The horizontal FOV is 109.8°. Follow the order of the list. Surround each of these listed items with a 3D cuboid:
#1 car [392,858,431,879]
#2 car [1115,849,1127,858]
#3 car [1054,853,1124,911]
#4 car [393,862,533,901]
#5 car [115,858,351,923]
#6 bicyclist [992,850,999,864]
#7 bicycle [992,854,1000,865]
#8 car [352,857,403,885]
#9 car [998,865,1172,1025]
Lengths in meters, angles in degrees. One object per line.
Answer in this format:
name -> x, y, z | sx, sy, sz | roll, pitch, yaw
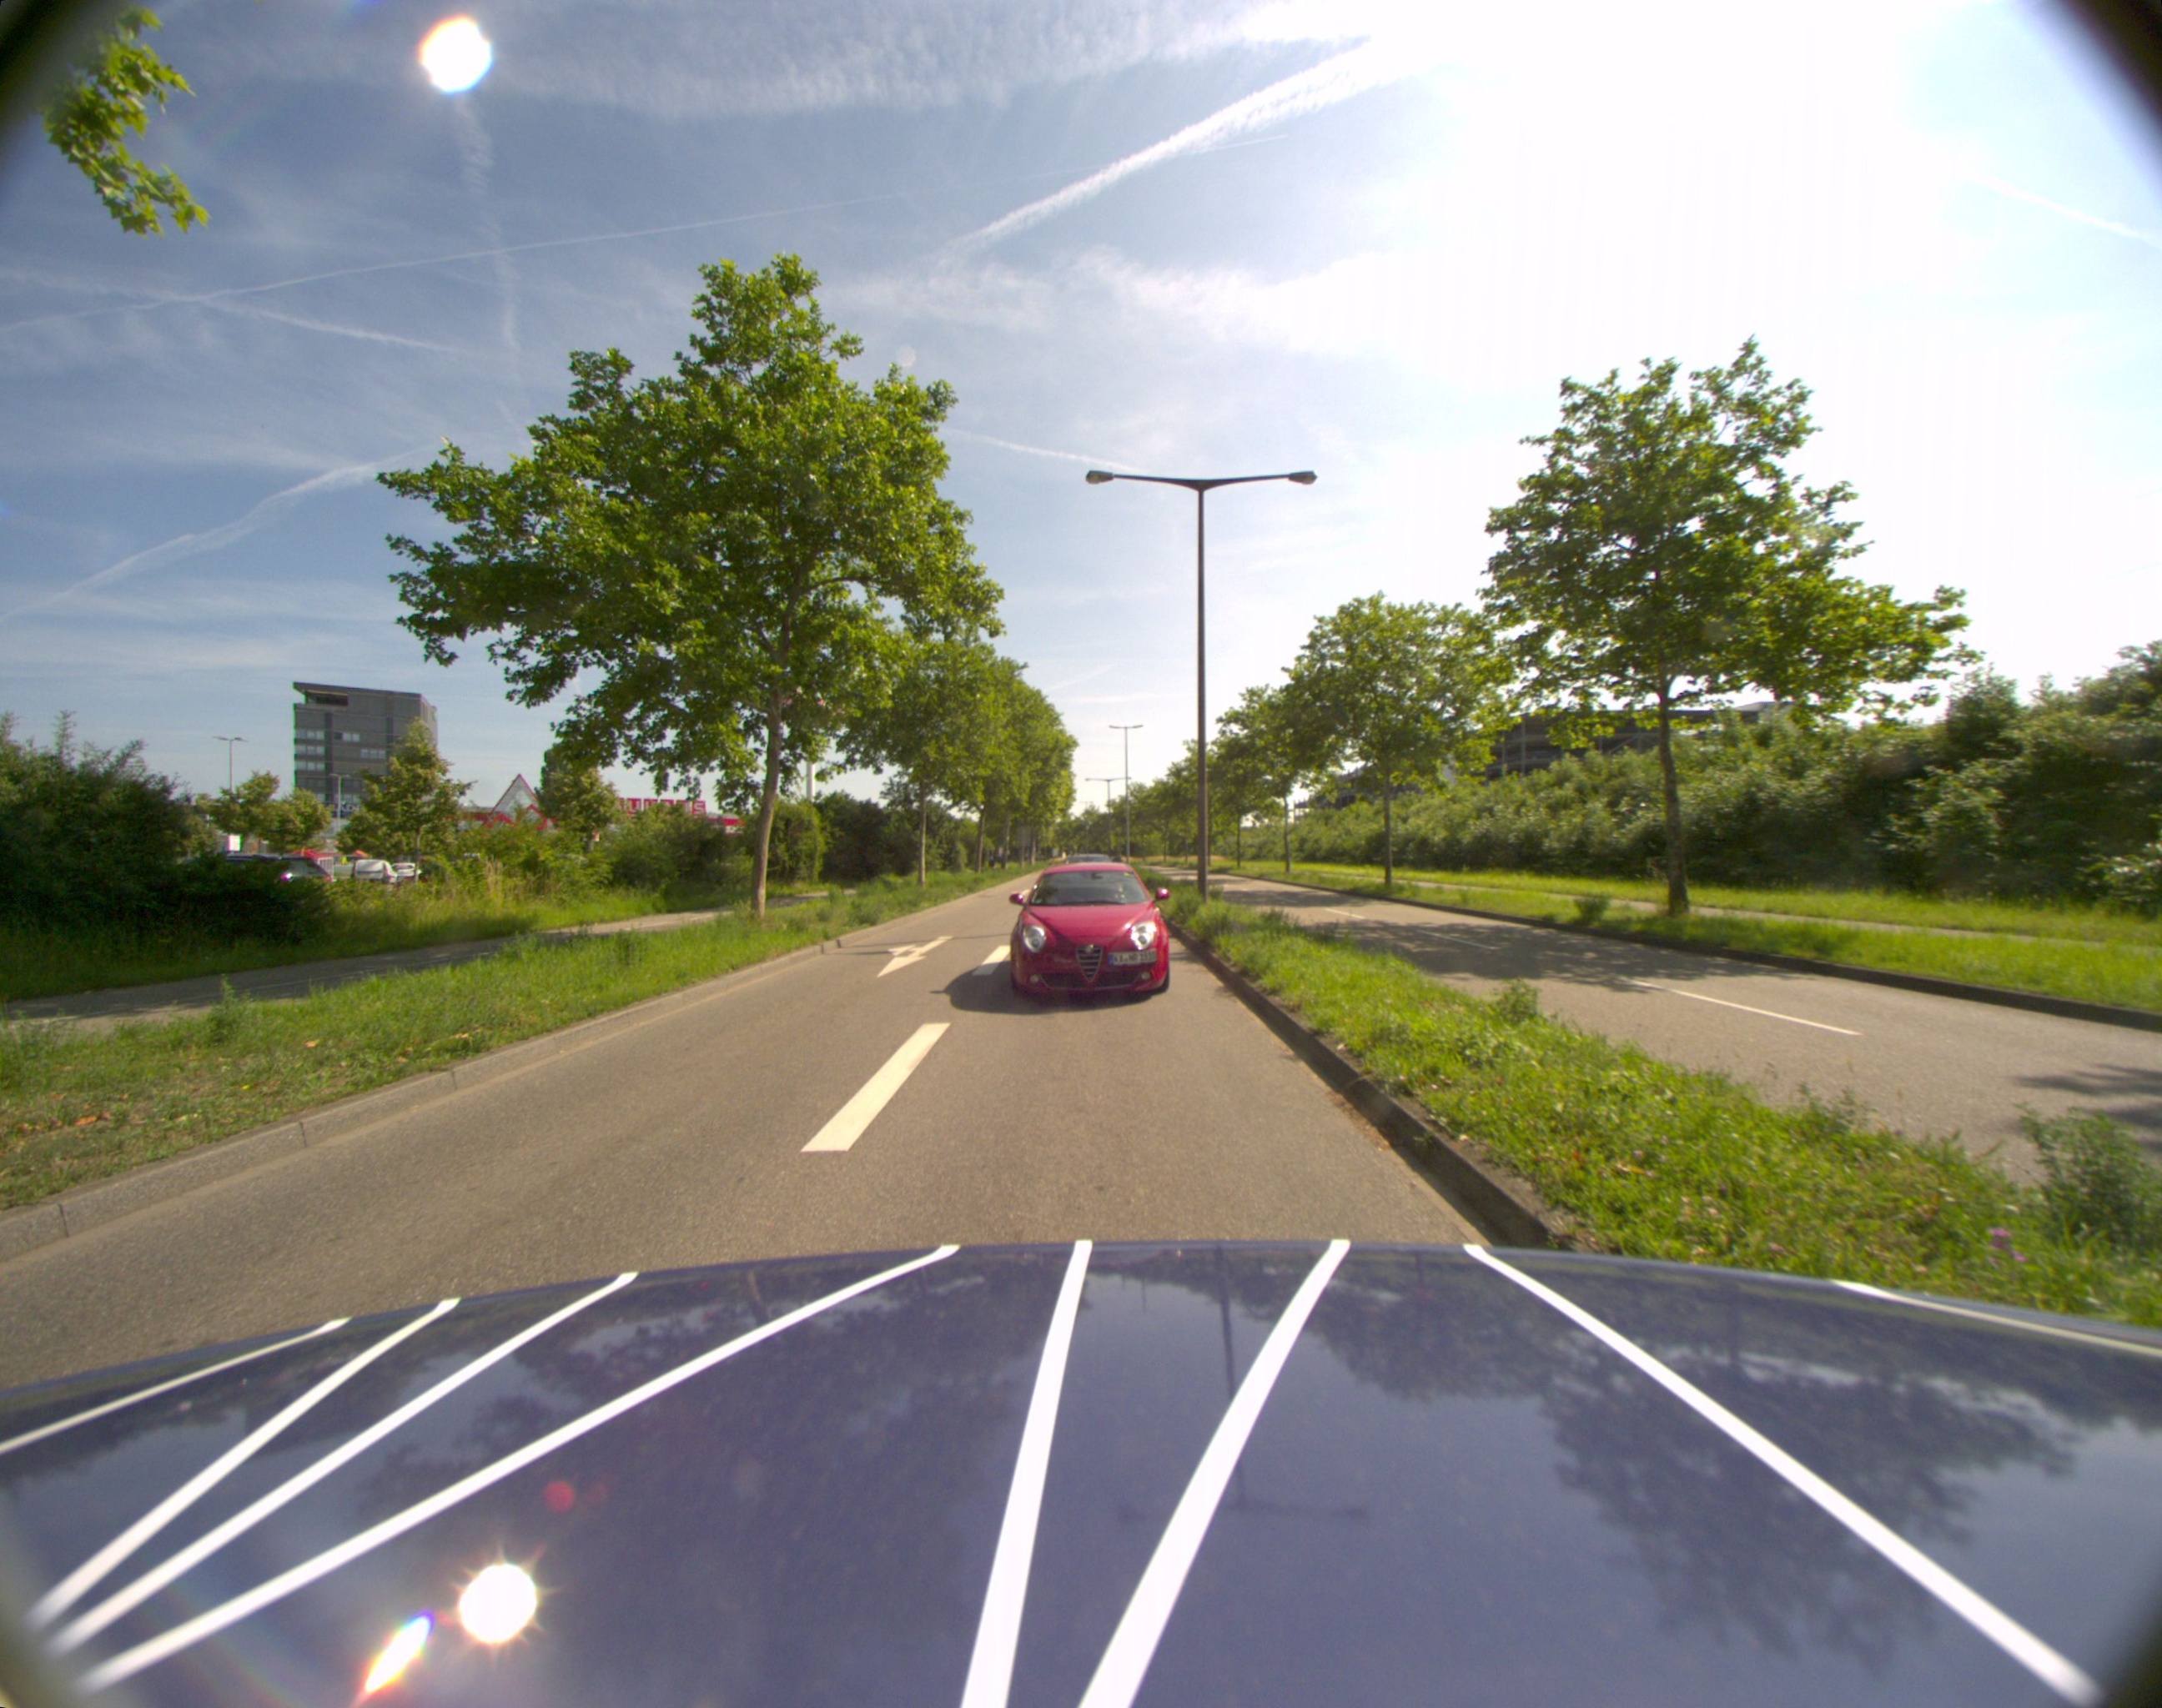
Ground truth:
car -> -49.369, 1.037, 56.111 | 1.693, 1.447, 3.989 | -1, 1, -35
car -> 6.614, -0.086, 125.614 | 1.868, 1.459, 3.937 | -1, 1, 0
car -> 0.257, 0.767, 22.812 | 1.874, 1.536, 4.081 | -1, 0, 1
car -> -22.396, 0.973, 27.664 | 3.563, 1.292, 1.766 | 0, 1, -6
car -> -21.992, 0.900, 19.863 | 3.861, 1.576, 1.848 | 0, 1, -6
bicyclist -> -9.981, 0.301, 88.859 | 0.687, 1.622, 1.002 | 0, 1, 1
bicycle -> -9.976, 0.648, 88.804 | 0.687, 1.230, 1.934 | 0, 1, 1
car -> -42.650, 0.993, 46.130 | 1.693, 1.565, 3.989 | -1, 1, -35
car -> 0.083, 0.930, 9.427 | 1.658, 1.430, 3.908 | -2, 0, 1
